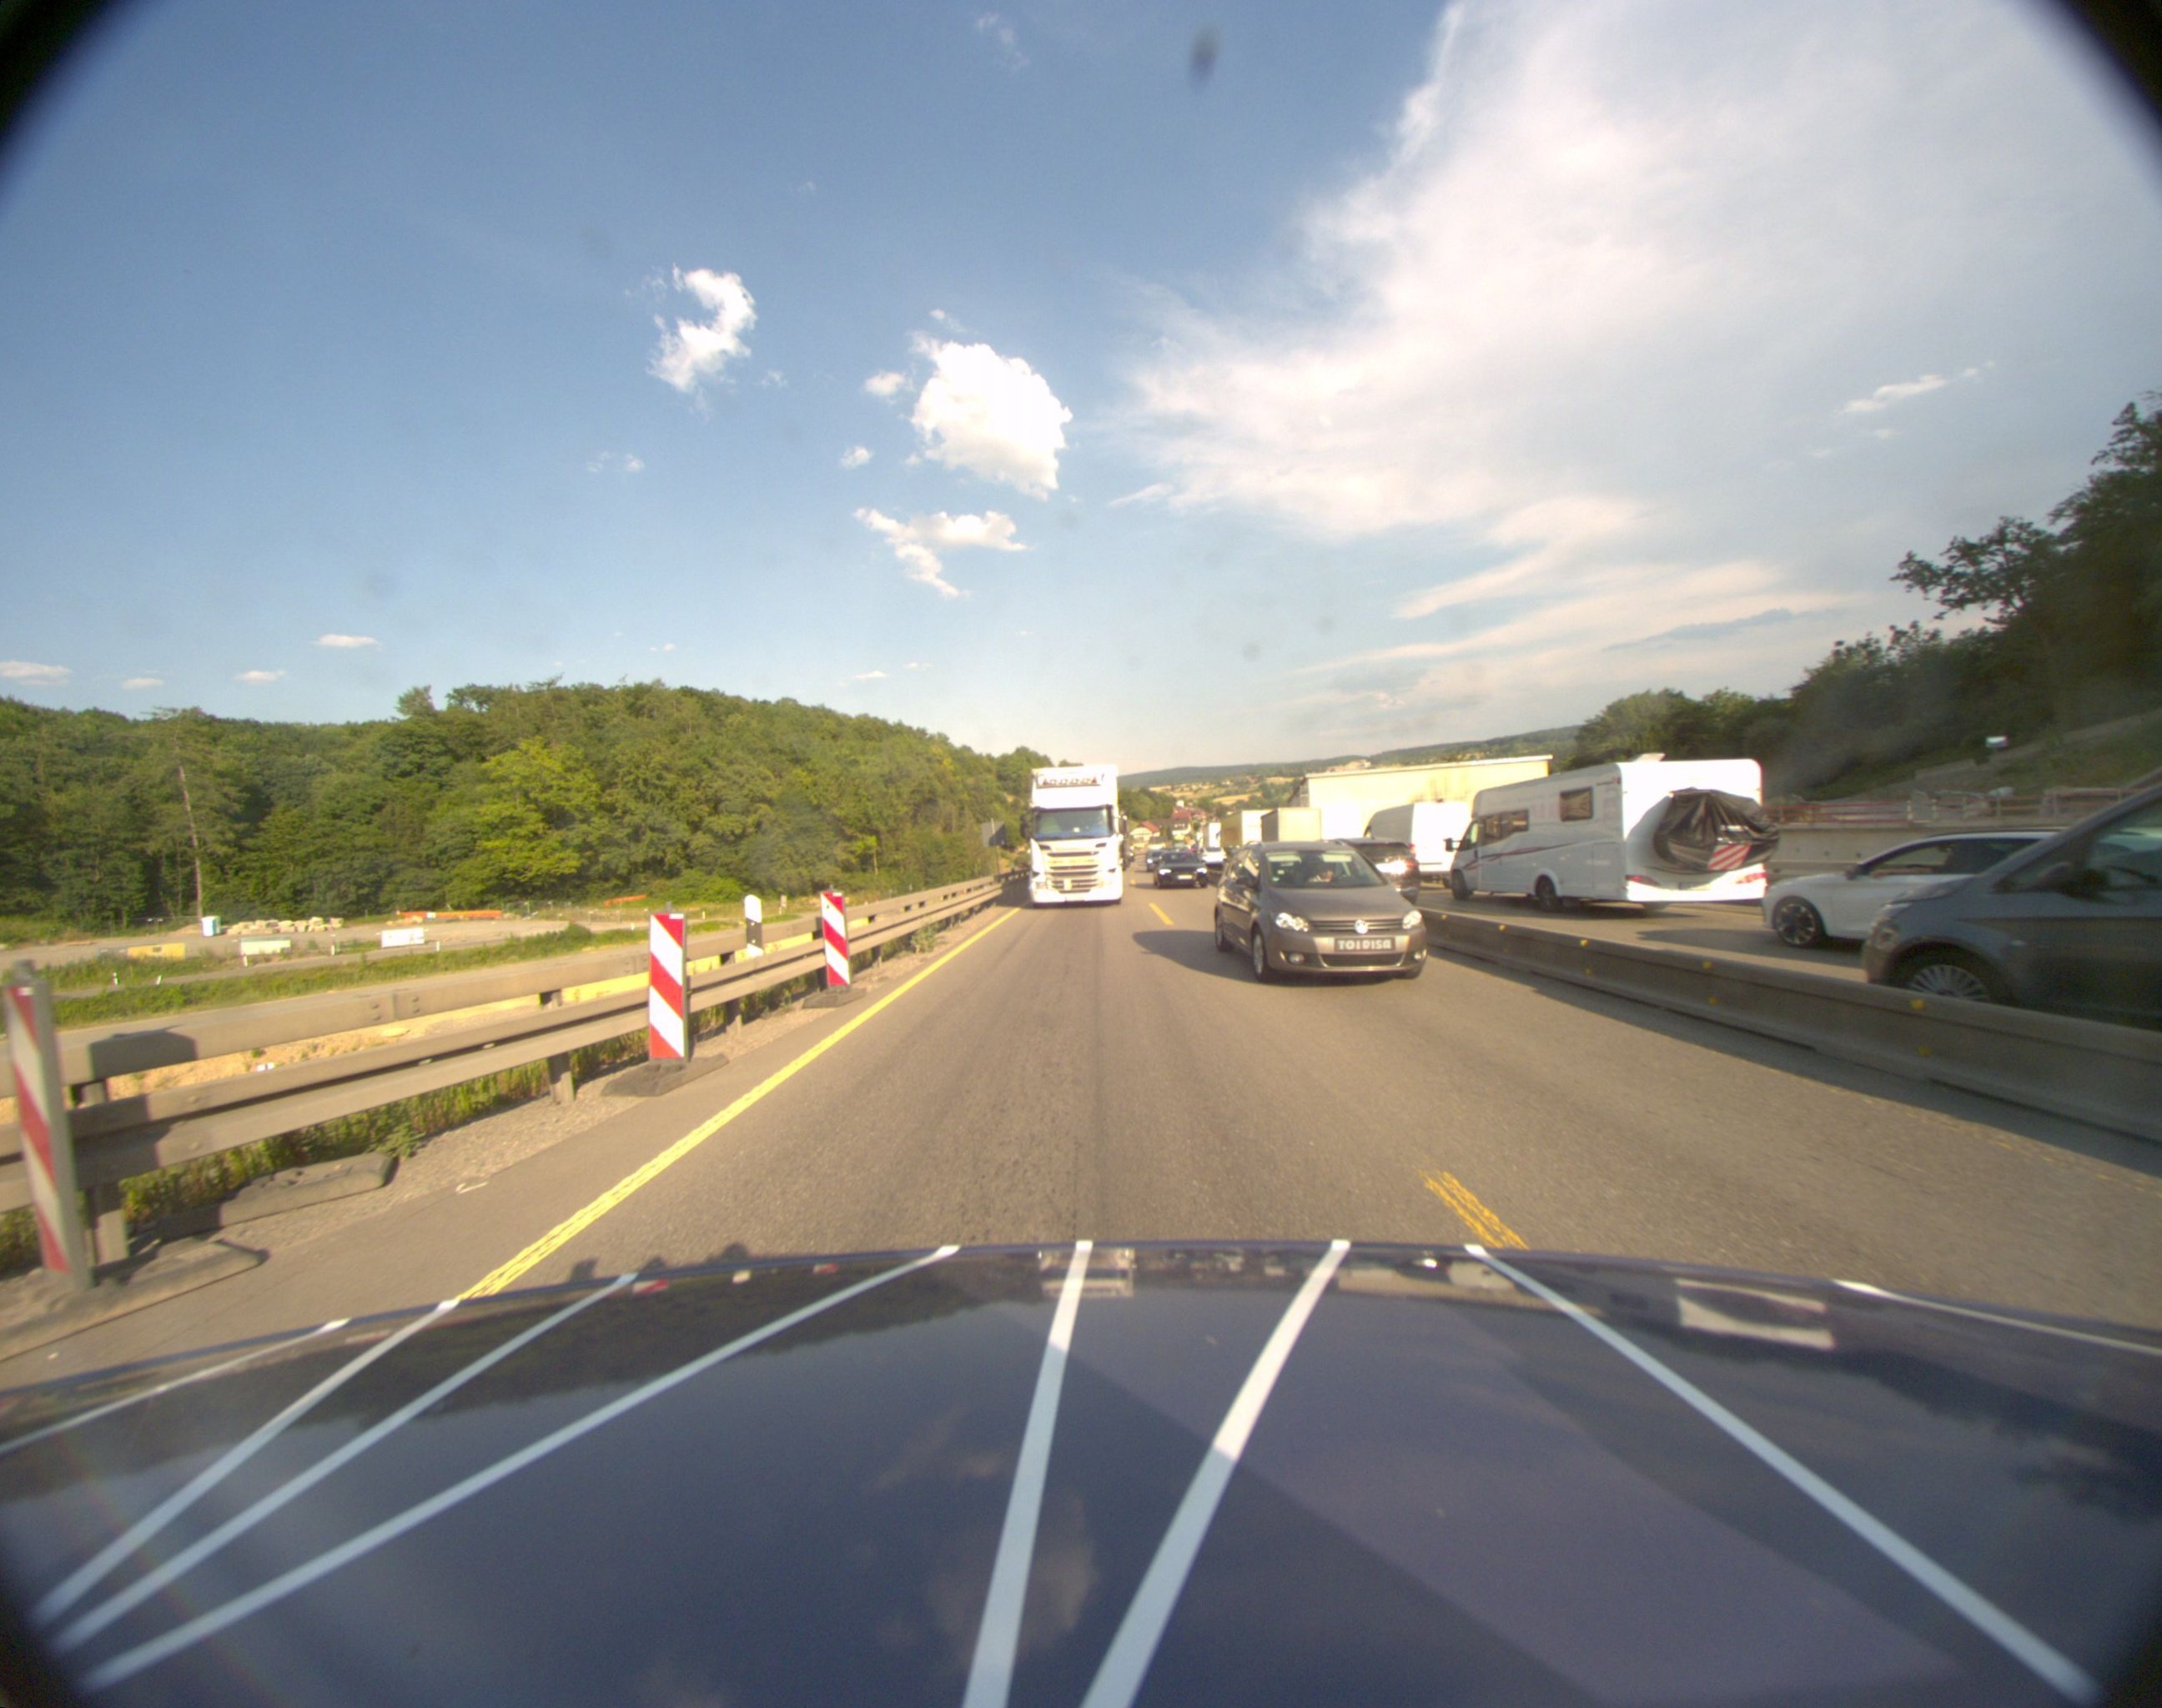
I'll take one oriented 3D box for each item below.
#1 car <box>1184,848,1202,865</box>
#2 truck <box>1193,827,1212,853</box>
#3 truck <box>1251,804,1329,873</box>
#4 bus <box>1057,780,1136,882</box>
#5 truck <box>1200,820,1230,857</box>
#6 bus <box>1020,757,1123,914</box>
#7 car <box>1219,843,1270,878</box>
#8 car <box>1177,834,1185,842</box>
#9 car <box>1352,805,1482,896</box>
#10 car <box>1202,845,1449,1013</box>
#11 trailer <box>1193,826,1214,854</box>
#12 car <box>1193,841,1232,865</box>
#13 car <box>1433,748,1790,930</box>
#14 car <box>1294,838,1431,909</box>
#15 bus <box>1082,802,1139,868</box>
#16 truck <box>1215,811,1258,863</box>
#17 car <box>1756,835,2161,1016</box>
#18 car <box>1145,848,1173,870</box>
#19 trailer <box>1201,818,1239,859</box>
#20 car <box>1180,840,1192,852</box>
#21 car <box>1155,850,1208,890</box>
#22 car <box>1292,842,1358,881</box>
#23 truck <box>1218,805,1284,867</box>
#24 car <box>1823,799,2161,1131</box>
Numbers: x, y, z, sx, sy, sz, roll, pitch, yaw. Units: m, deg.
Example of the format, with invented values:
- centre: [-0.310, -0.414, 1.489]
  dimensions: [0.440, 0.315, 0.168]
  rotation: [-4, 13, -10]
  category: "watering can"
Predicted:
- centre: [10.999, 0.224, 74.822]
  dimensions: [1.657, 1.514, 4.289]
  rotation: [-2, 1, 8]
  category: "car"
- centre: [18.866, -2.184, 118.236]
  dimensions: [2.604, 3.865, 6.205]
  rotation: [-1, 1, 7]
  category: "truck"
- centre: [11.520, -0.811, 42.594]
  dimensions: [2.453, 3.443, 7.617]
  rotation: [-2, 1, 2]
  category: "truck"
- centre: [1.052, -1.062, 39.294]
  dimensions: [2.983, 4.553, 9.972]
  rotation: [-2, 0, 7]
  category: "bus"
- centre: [15.539, -1.775, 88.363]
  dimensions: [2.849, 4.013, 6.103]
  rotation: [-1, 1, 6]
  category: "truck"
- centre: [0.011, -0.574, 25.594]
  dimensions: [2.635, 4.077, 11.313]
  rotation: [-1, 1, 3]
  category: "bus"
- centre: [7.763, 0.307, 36.404]
  dimensions: [1.786, 1.513, 4.002]
  rotation: [-3, 0, 5]
  category: "car"
- centre: [27.452, -4.408, 208.910]
  dimensions: [1.821, 1.988, 4.756]
  rotation: [0, 0, 1]
  category: "car"
- centre: [10.810, -0.145, 25.000]
  dimensions: [1.961, 2.606, 5.748]
  rotation: [-1, 1, 3]
  category: "car"
- centre: [2.711, 0.706, 9.434]
  dimensions: [1.688, 1.565, 4.099]
  rotation: [-2, 1, 0]
  category: "car"
- centre: [18.252, -2.099, 113.265]
  dimensions: [2.602, 3.858, 10.581]
  rotation: [-1, 1, 7]
  category: "trailer"
- centre: [8.844, -0.046, 51.479]
  dimensions: [2.063, 1.478, 4.728]
  rotation: [1, 0, 4]
  category: "car"
- centre: [10.324, -0.306, 16.072]
  dimensions: [2.340, 2.901, 7.631]
  rotation: [-1, 1, 1]
  category: "car"
- centre: [6.915, 0.456, 19.273]
  dimensions: [1.821, 1.569, 4.756]
  rotation: [0, 0, 1]
  category: "car"
- centre: [2.513, -1.369, 59.151]
  dimensions: [2.983, 4.553, 10.910]
  rotation: [-2, 0, 9]
  category: "bus"
- centre: [12.968, -1.406, 63.898]
  dimensions: [2.719, 4.065, 6.102]
  rotation: [-1, 1, 4]
  category: "truck"
- centre: [9.746, 0.559, 7.704]
  dimensions: [1.753, 1.414, 4.609]
  rotation: [-3, 1, 1]
  category: "car"
- centre: [5.298, 0.314, 51.073]
  dimensions: [1.697, 1.390, 4.002]
  rotation: [-3, 0, 7]
  category: "car"
- centre: [14.888, -1.669, 82.184]
  dimensions: [2.863, 4.013, 13.974]
  rotation: [-1, 1, 6]
  category: "trailer"
- centre: [17.914, -1.377, 129.499]
  dimensions: [1.866, 1.899, 4.001]
  rotation: [-1, 1, 6]
  category: "car"
- centre: [3.894, 0.584, 30.009]
  dimensions: [1.866, 1.391, 4.001]
  rotation: [-1, 1, 5]
  category: "car"
- centre: [10.595, 0.284, 33.288]
  dimensions: [1.767, 1.514, 4.003]
  rotation: [-2, 1, 3]
  category: "car"
- centre: [12.490, -1.290, 57.096]
  dimensions: [2.713, 4.065, 14.155]
  rotation: [-1, 1, 4]
  category: "truck"
- centre: [6.590, 0.548, 3.100]
  dimensions: [1.809, 1.761, 5.453]
  rotation: [-2, -1, 1]
  category: "car"
